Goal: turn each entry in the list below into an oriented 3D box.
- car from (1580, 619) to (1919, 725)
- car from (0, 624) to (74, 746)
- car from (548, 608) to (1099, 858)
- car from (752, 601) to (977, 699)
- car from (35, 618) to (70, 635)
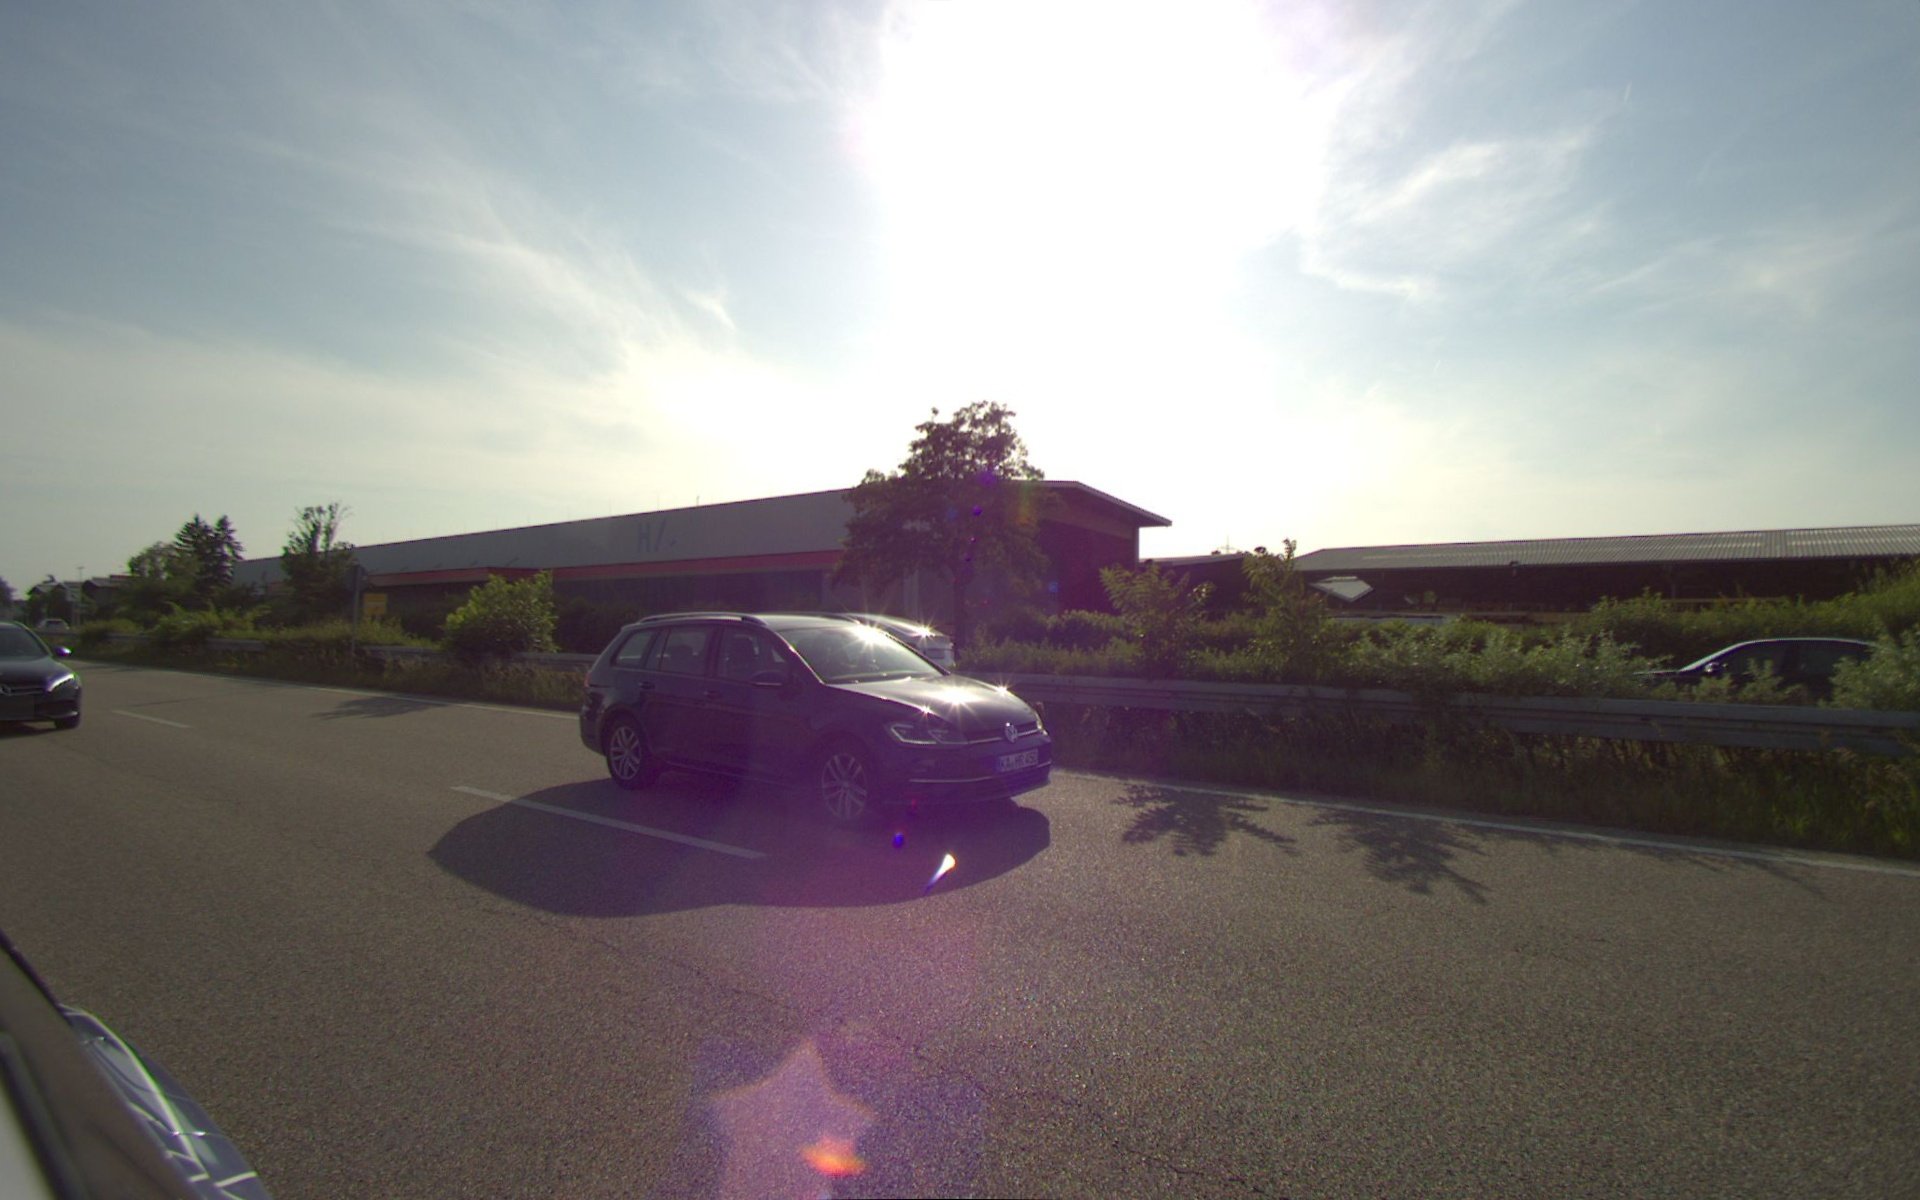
[{"bbox_3d":[10.558,0.872,13.434,3.782,1.166,1.726,0,0,40],"label":"car"},{"bbox_3d":[-13.693,1.070,13.881,5.018,1.482,1.557,-1,-2,40],"label":"car"},{"bbox_3d":[-1.345,0.847,8.177,4.772,1.482,1.629,-1,-2,40],"label":"car"},{"bbox_3d":[-1.821,0.829,18.715,3.996,1.625,1.909,0,0,40],"label":"car"},{"bbox_3d":[-81.283,2.387,90.601,3.997,1.435,1.761,-1,-2,40],"label":"car"}]
